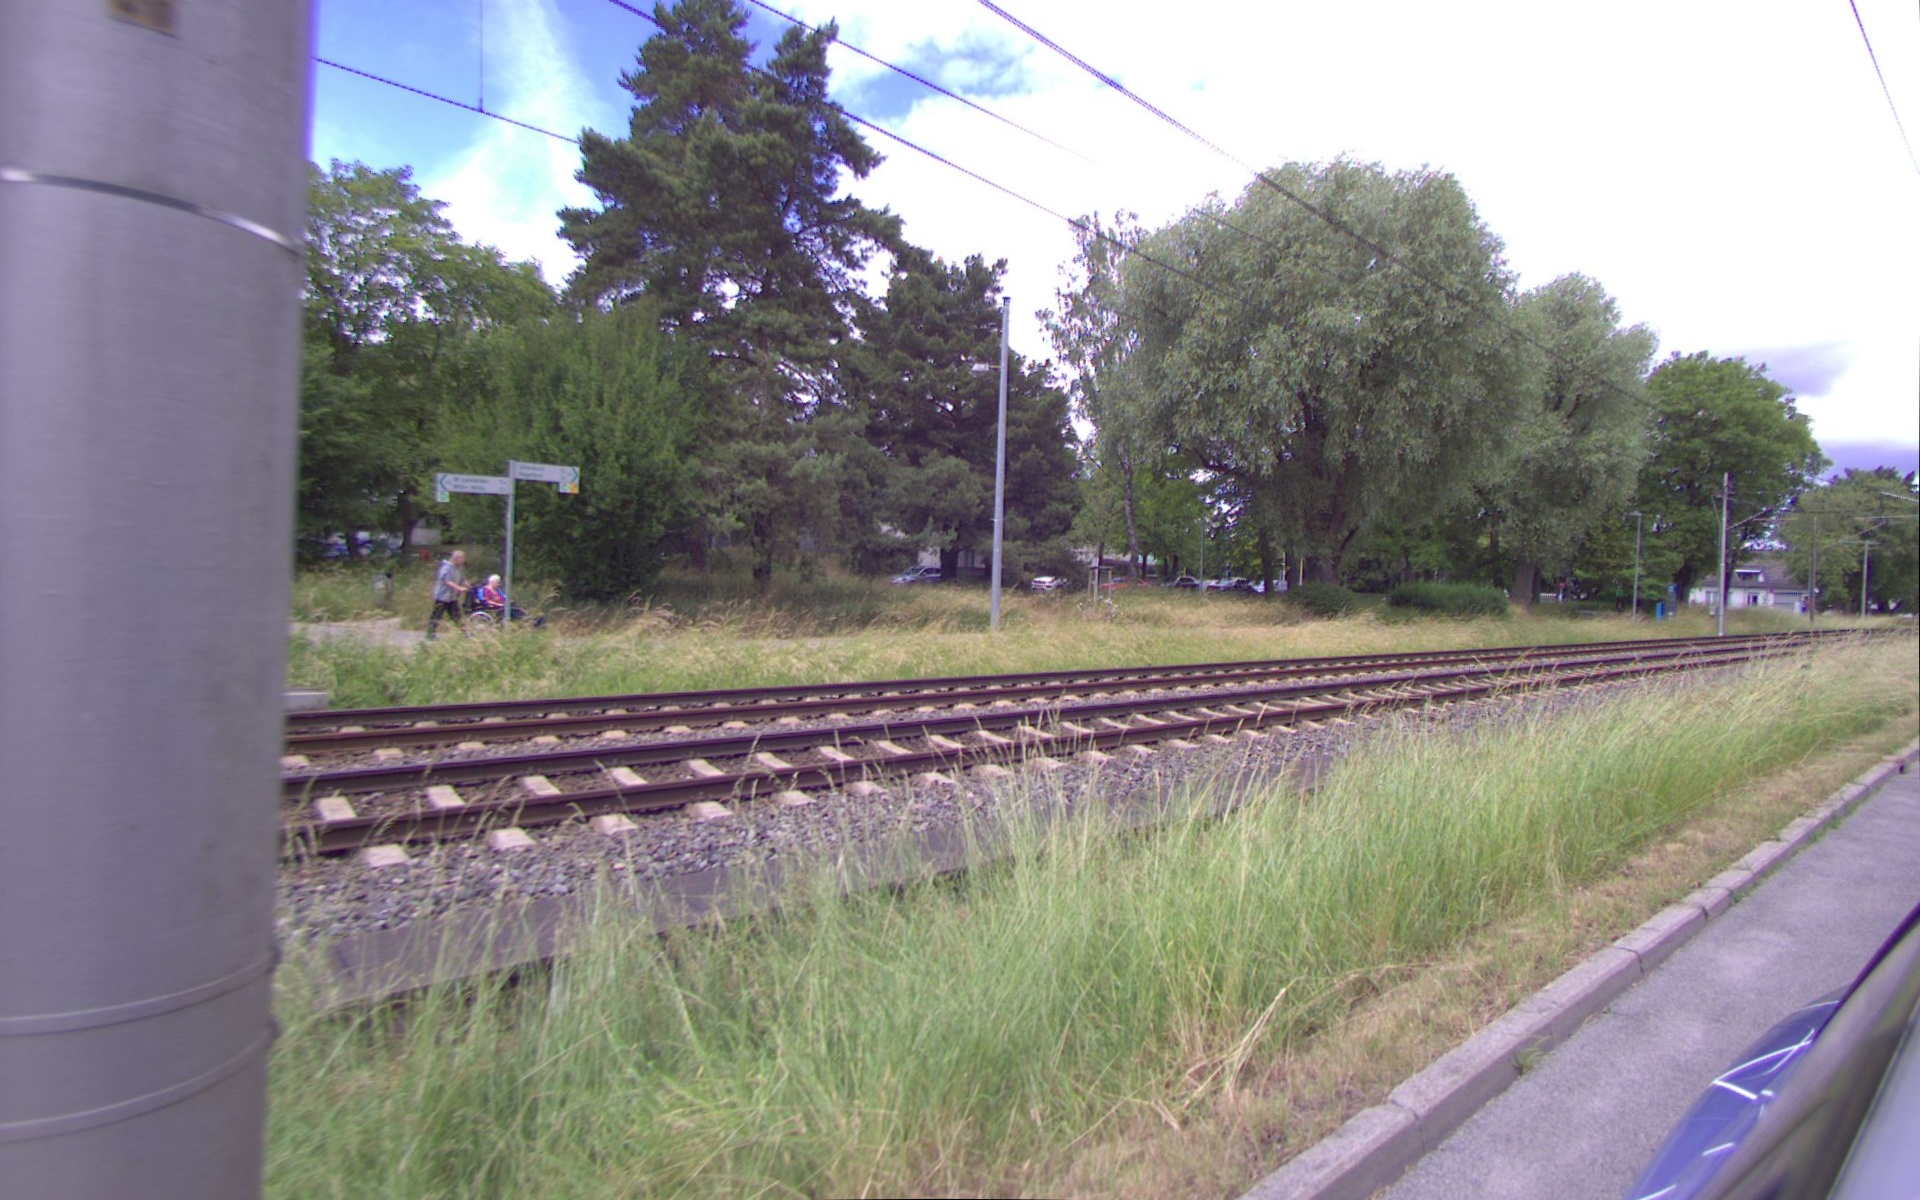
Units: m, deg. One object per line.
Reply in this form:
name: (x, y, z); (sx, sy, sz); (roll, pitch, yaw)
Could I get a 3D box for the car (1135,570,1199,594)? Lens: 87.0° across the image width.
car: (13.266, -1.152, 64.828); (3.930, 1.460, 1.998); (0, 1, -41)

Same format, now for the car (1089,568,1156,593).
car: (9.962, -1.202, 62.033); (3.930, 1.460, 1.998); (0, 1, -41)

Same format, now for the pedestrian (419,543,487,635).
pedestrian: (-9.617, -0.217, 19.205); (0.940, 1.687, 0.658); (1, 1, 1)

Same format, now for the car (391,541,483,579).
car: (-26.113, -1.962, 50.669); (1.811, 1.755, 3.784); (1, 1, 24)

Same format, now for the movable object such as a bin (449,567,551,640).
movable object such as a bin: (-8.699, 0.057, 19.178); (1.612, 1.326, 0.660); (1, 1, 1)

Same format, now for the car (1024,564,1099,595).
car: (5.920, -1.171, 58.574); (4.154, 1.721, 1.997); (0, 1, -40)

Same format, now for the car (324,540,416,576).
car: (-30.490, -2.156, 52.430); (1.811, 1.755, 3.784); (1, 1, 24)

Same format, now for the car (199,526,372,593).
car: (-20.033, -1.164, 30.191); (1.739, 1.826, 3.947); (2, 1, 36)

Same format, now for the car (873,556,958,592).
car: (-2.254, -1.282, 51.467); (3.927, 1.721, 1.998); (0, 1, -39)

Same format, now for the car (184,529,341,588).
car: (-23.140, -1.344, 33.689); (1.739, 1.826, 3.947); (2, 1, 36)

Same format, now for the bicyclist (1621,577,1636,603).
bicyclist: (44.620, -0.668, 67.530); (0.920, 1.717, 0.581); (1, 1, -44)

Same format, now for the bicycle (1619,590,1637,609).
bicycle: (44.509, -0.051, 67.446); (1.897, 1.261, 0.581); (0, 1, -44)

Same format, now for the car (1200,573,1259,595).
car: (18.539, -1.088, 69.539); (3.930, 1.460, 1.998); (0, 1, -41)
